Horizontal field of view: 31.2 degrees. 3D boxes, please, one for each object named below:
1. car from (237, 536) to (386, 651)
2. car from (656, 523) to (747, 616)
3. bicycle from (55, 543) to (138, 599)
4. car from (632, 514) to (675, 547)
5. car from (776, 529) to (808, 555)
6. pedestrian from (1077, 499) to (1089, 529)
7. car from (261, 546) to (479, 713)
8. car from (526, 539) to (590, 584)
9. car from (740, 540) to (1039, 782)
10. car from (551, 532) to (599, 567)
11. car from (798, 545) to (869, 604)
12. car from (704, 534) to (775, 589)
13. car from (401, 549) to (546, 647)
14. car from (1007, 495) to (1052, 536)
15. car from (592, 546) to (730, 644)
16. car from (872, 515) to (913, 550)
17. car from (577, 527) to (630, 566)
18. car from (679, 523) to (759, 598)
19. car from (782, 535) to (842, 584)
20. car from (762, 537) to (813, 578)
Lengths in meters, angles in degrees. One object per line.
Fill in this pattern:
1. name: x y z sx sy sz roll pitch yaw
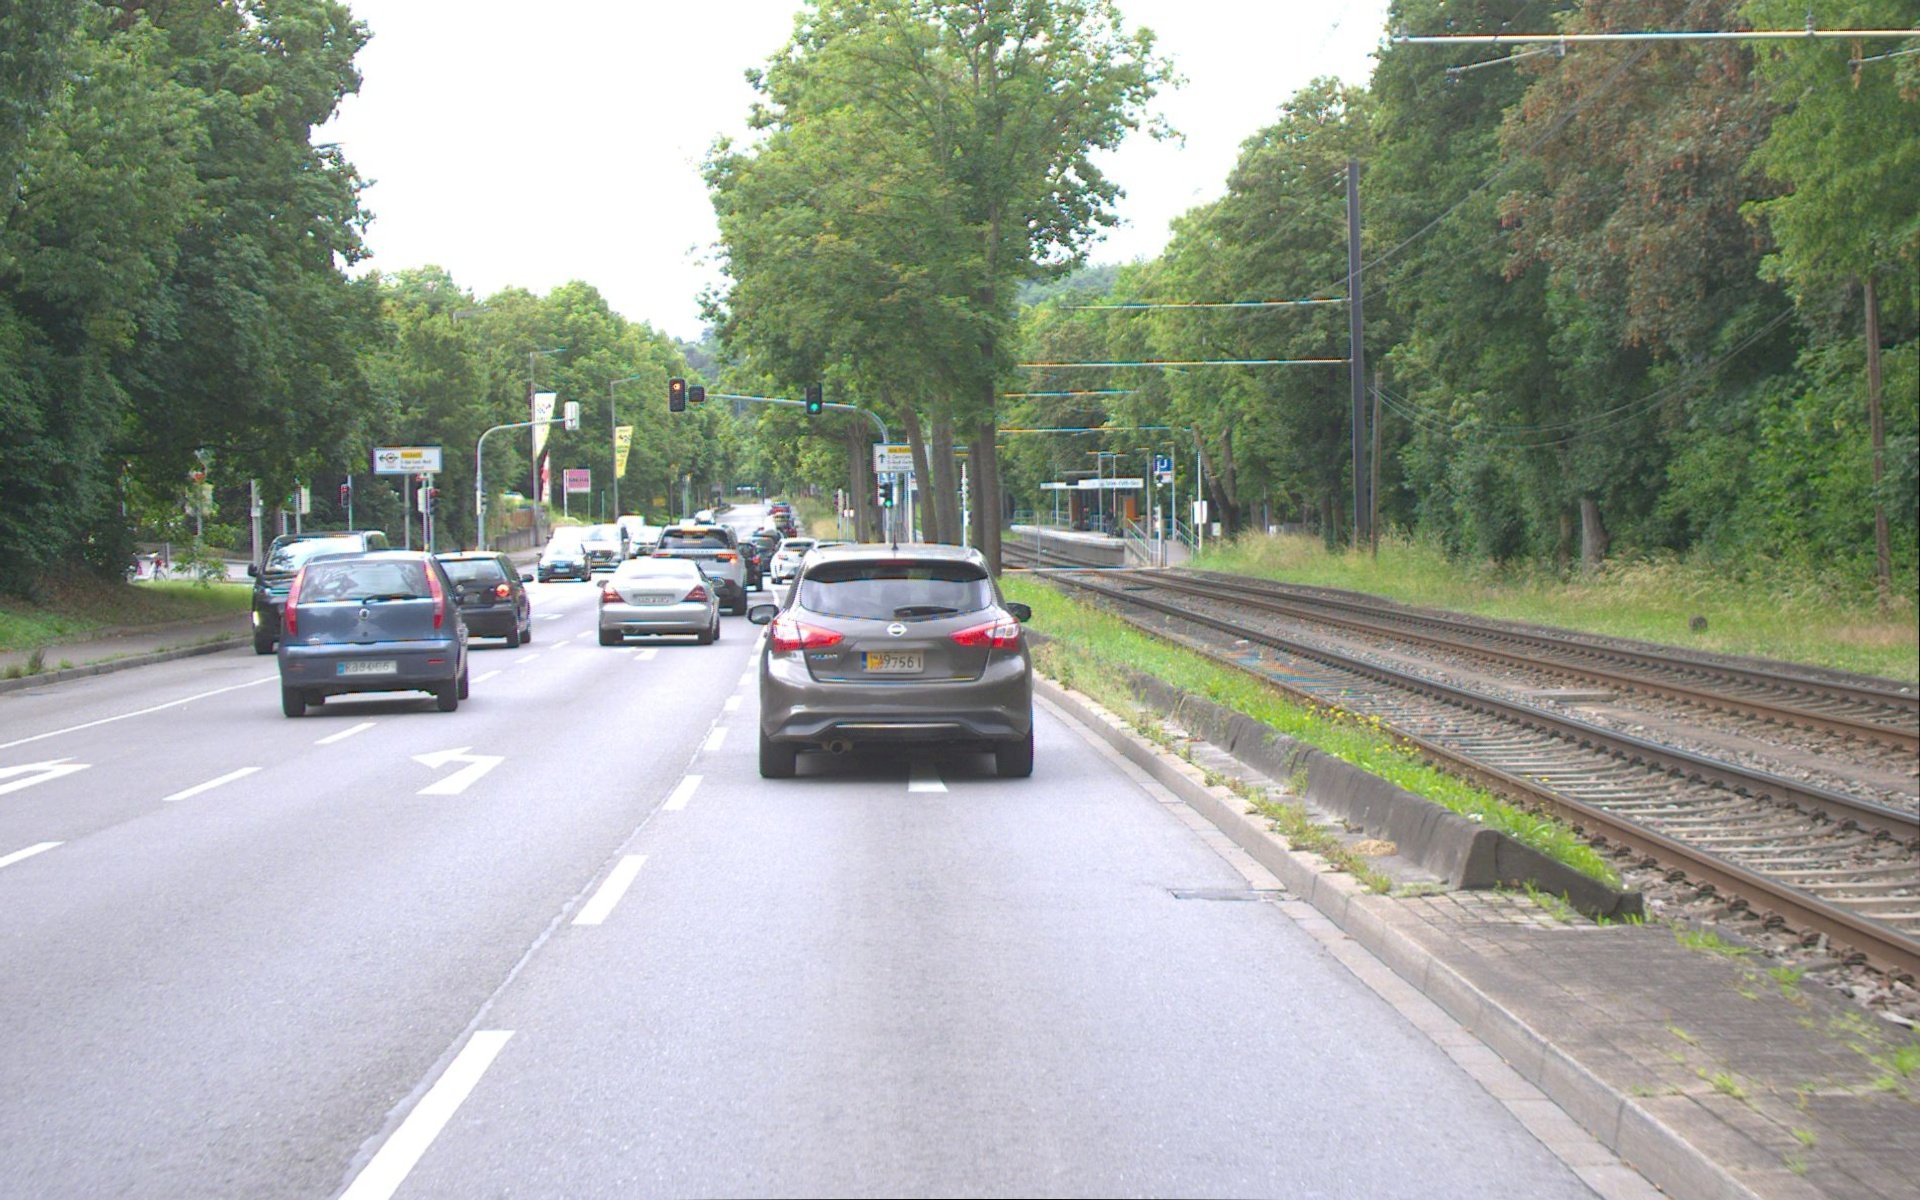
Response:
1. car: -10.305 -0.122 54.901 1.715 1.754 4.000 0 1 -1
2. car: -5.300 -0.630 70.849 1.715 1.857 4.000 0 1 -2
3. bicycle: -17.404 -0.594 69.331 0.499 1.104 1.797 0 1 31
4. car: -14.952 -3.375 167.920 1.715 1.545 4.000 0 1 0
5. car: -10.214 -3.541 209.295 1.715 1.545 4.000 0 1 0
6. pedestrian: 6.886 -4.799 192.270 0.648 1.655 0.650 0 1 0
7. car: -5.523 0.236 32.557 1.699 1.438 4.001 -2 1 -5
8. car: -13.974 -1.329 119.707 1.715 1.545 4.000 0 1 0
9. car: -0.423 0.358 23.395 1.850 1.488 4.000 0 1 0
10. car: -17.610 -2.298 157.308 1.715 1.545 4.000 0 1 0
11. car: -3.393 -0.687 92.759 1.715 1.545 4.000 0 1 0
12. car: -6.268 -1.113 98.117 1.794 1.505 4.000 0 1 -1
13. car: -7.334 -0.050 52.138 1.715 1.430 4.000 0 1 -1
14. car: 2.894 -3.526 143.712 1.715 1.657 3.707 0 1 -1
15. car: -4.502 -0.098 52.279 1.715 1.430 4.000 0 1 0
16. car: -3.031 -3.044 155.375 1.715 1.545 4.000 0 1 0
17. car: -14.348 -2.149 138.485 1.715 1.545 4.000 0 1 0
18. car: -6.130 -1.000 87.759 1.715 1.857 4.000 0 1 0
19. car: -4.751 -1.305 110.766 1.715 1.545 4.000 0 1 0
20. car: -6.604 -1.645 132.075 1.715 1.545 4.000 0 1 0
